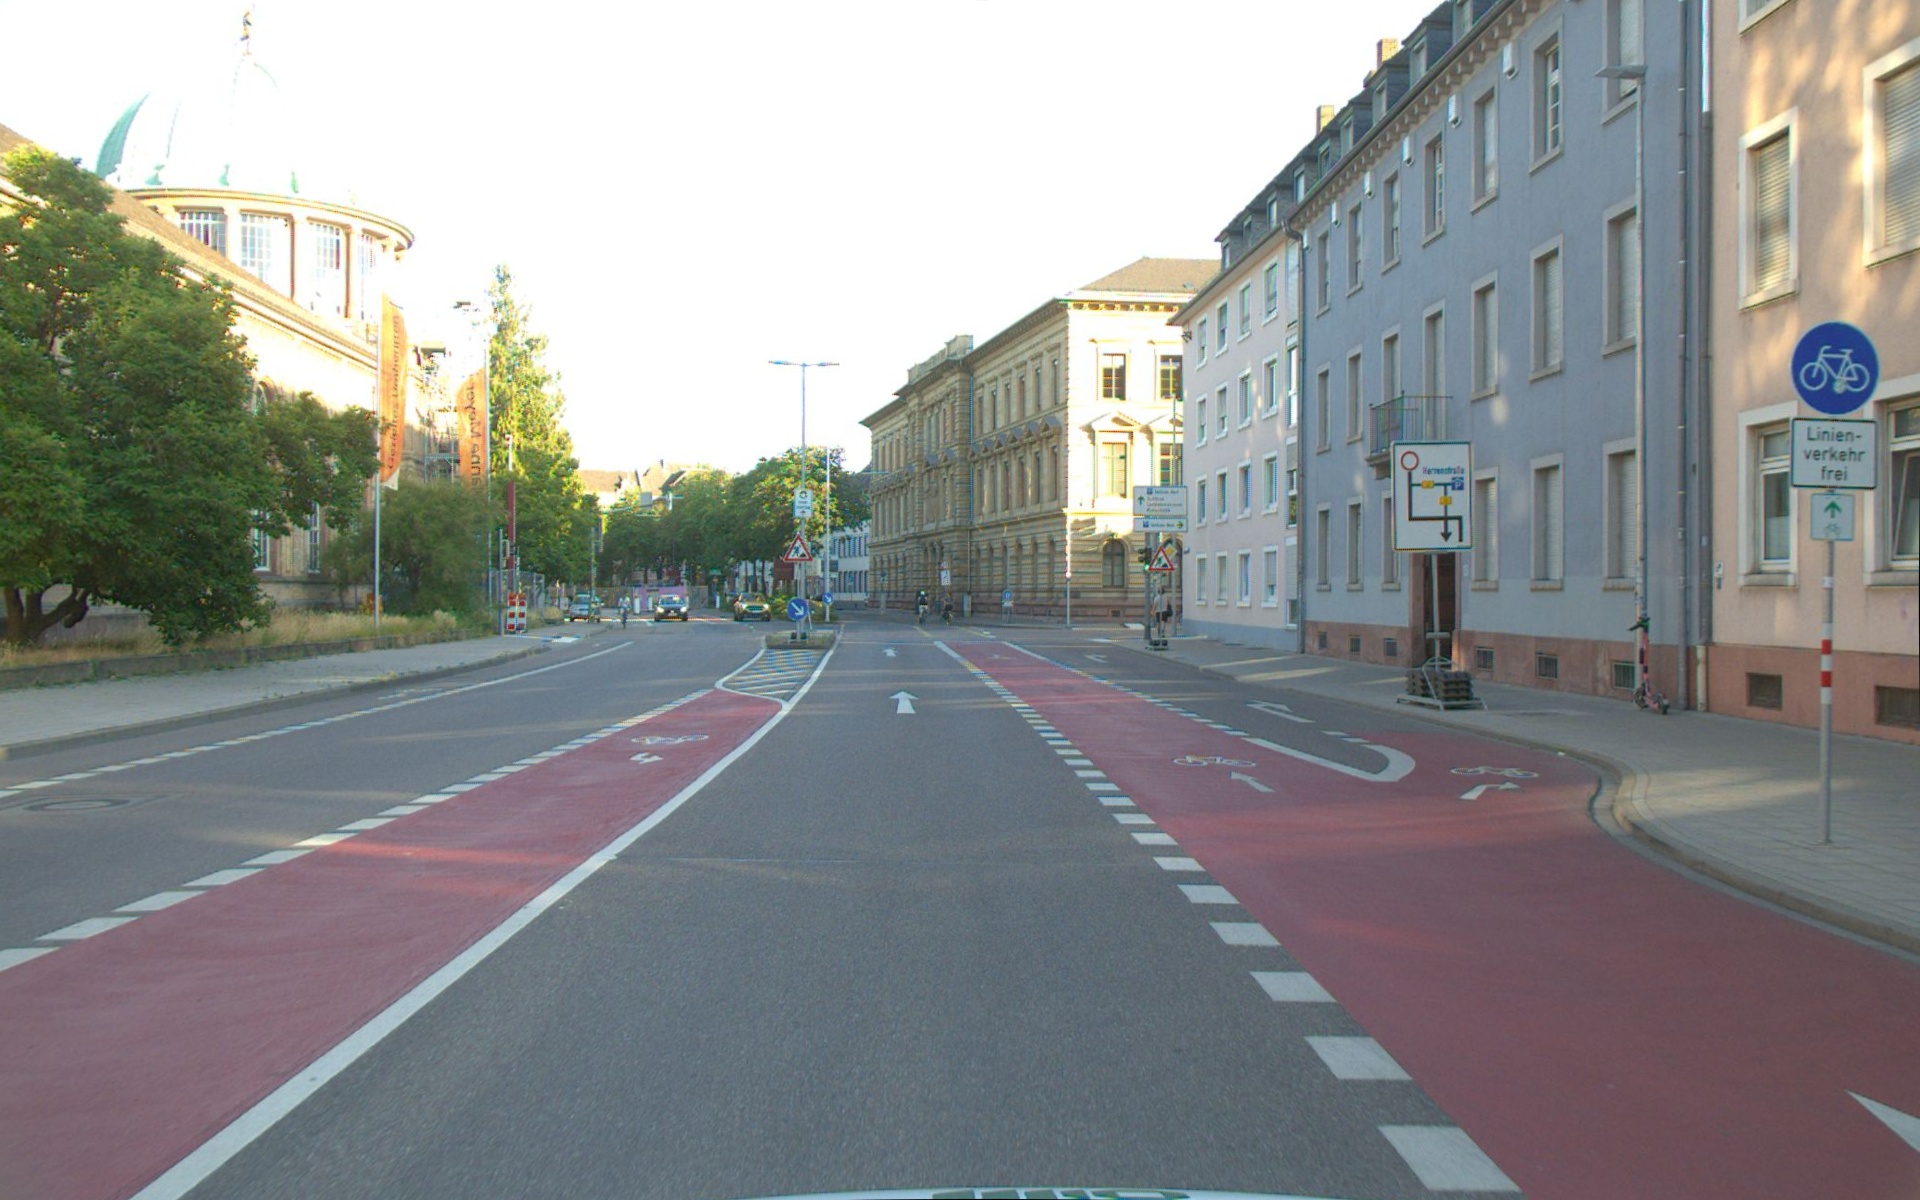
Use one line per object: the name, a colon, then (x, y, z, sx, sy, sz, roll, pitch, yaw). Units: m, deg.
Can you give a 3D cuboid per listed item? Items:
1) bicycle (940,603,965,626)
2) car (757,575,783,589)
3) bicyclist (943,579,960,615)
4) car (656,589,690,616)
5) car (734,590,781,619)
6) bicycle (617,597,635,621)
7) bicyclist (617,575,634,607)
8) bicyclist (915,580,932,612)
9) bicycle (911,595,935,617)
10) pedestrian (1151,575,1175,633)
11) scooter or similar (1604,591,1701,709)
bicycle: (-0.411, 0.730, 84.016, 0.642, 1.089, 2.248, 2, -1, -16)
car: (-21.241, -2.008, 185.012, 1.788, 1.587, 3.836, 0, 0, -24)
bicyclist: (-0.431, -0.166, 84.229, 0.639, 1.791, 0.860, 2, 0, -17)
car: (-16.385, 0.116, 94.550, 1.789, 1.534, 4.418, 0, 0, -9)
car: (-11.140, 0.234, 91.144, 1.806, 1.574, 4.121, -1, 0, 4)
bicycle: (-15.849, 0.425, 78.489, 0.739, 1.109, 1.928, -2, 0, -9)
bicyclist: (-15.878, -0.429, 78.483, 0.733, 1.486, 0.935, -2, 0, -10)
bicyclist: (-1.853, -0.179, 84.044, 0.658, 1.593, 0.695, 2, -1, -19)
bicycle: (-1.884, 0.302, 84.091, 0.659, 1.089, 1.890, 2, -1, -19)
pedestrian: (7.259, 0.138, 59.191, 0.768, 2.049, 0.995, 0, 0, 12)
scooter or similar: (9.272, 0.645, 22.207, 0.710, 1.484, 1.673, -2, 0, 7)
